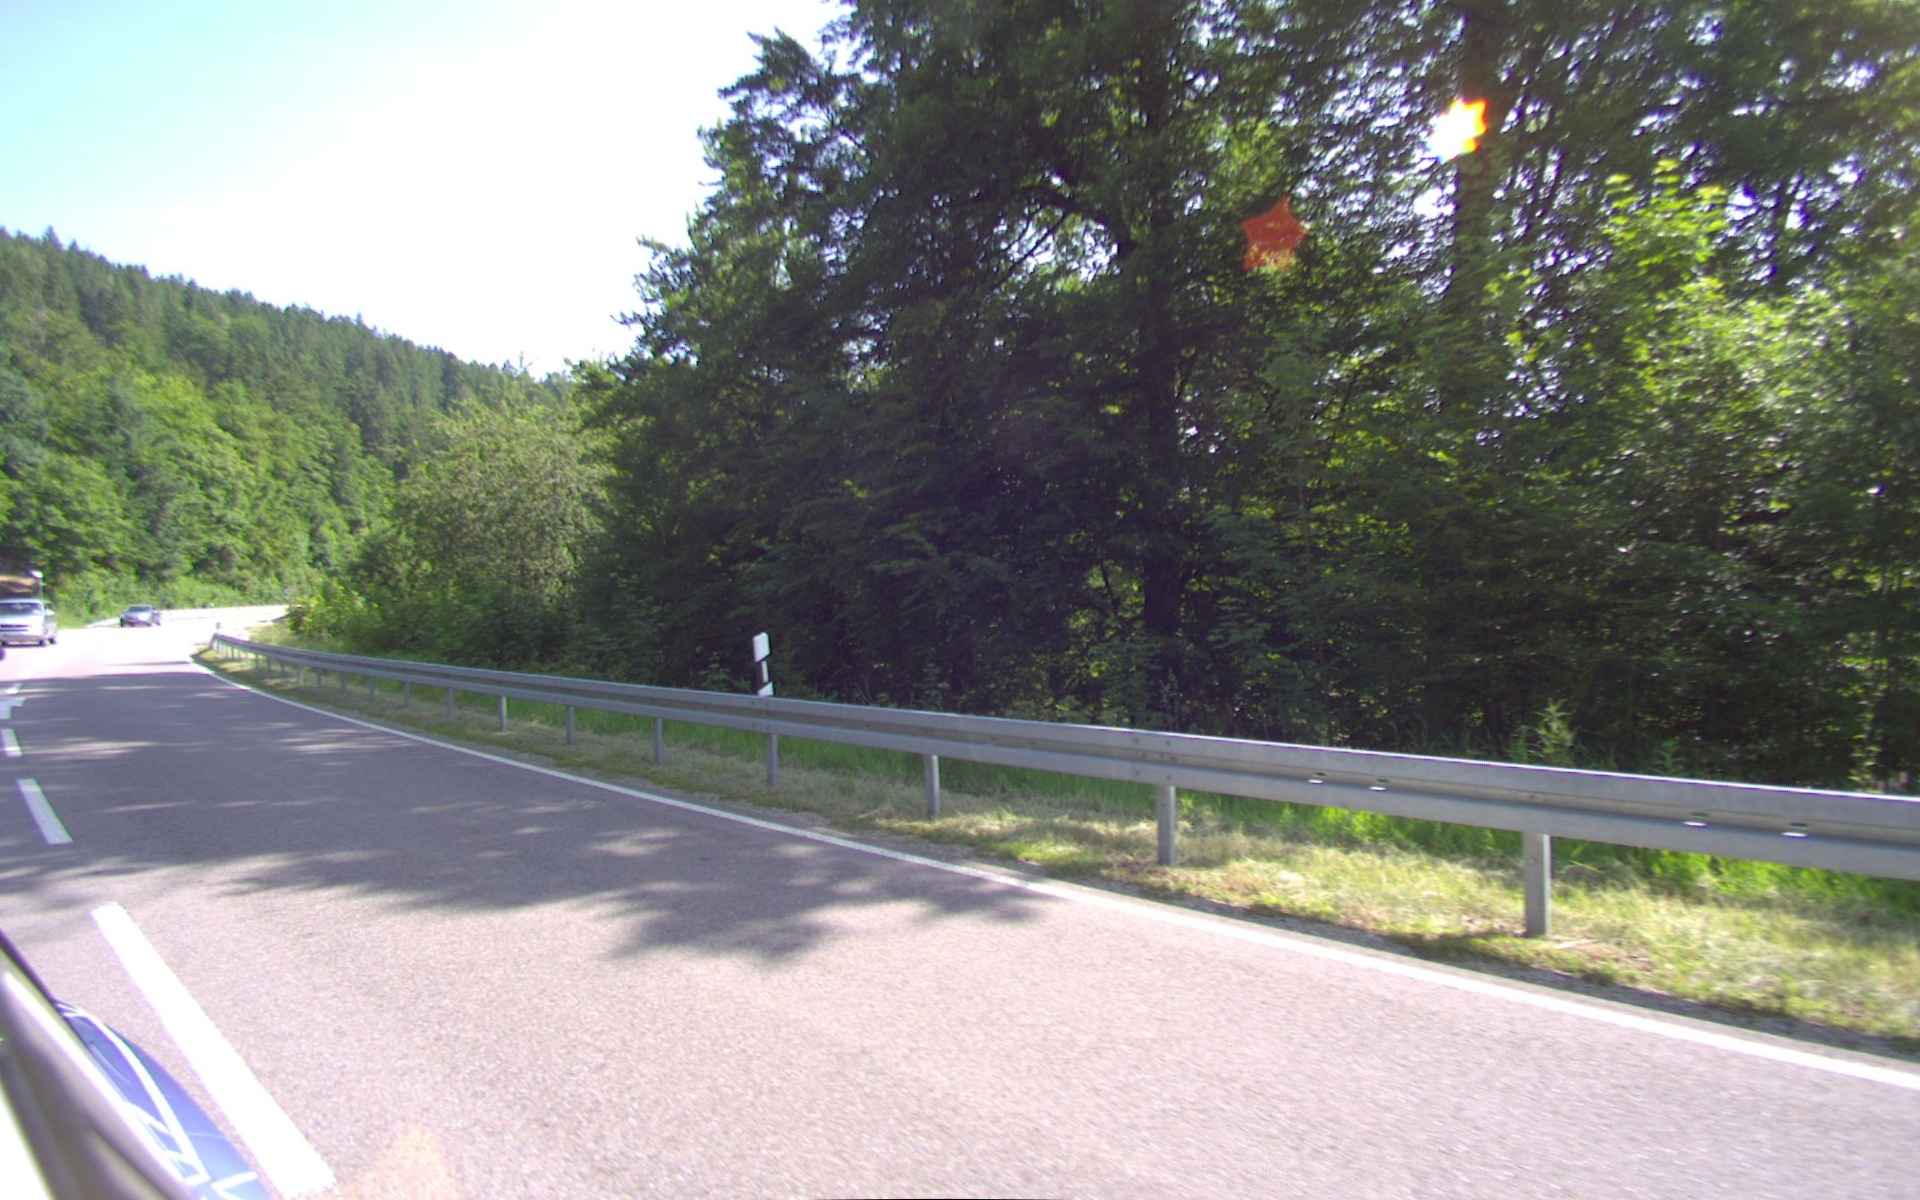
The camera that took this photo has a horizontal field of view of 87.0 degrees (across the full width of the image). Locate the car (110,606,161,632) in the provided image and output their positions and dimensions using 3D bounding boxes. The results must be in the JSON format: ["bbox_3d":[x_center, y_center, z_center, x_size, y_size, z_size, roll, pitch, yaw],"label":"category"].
[{"bbox_3d":[-55.491,1.239,68.190,1.966,1.655,4.012,-1,0,-30],"label":"car"}]

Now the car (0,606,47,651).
[{"bbox_3d":[-38.427,1.131,41.195,1.628,1.773,3.801,1,-1,-39],"label":"car"}]
